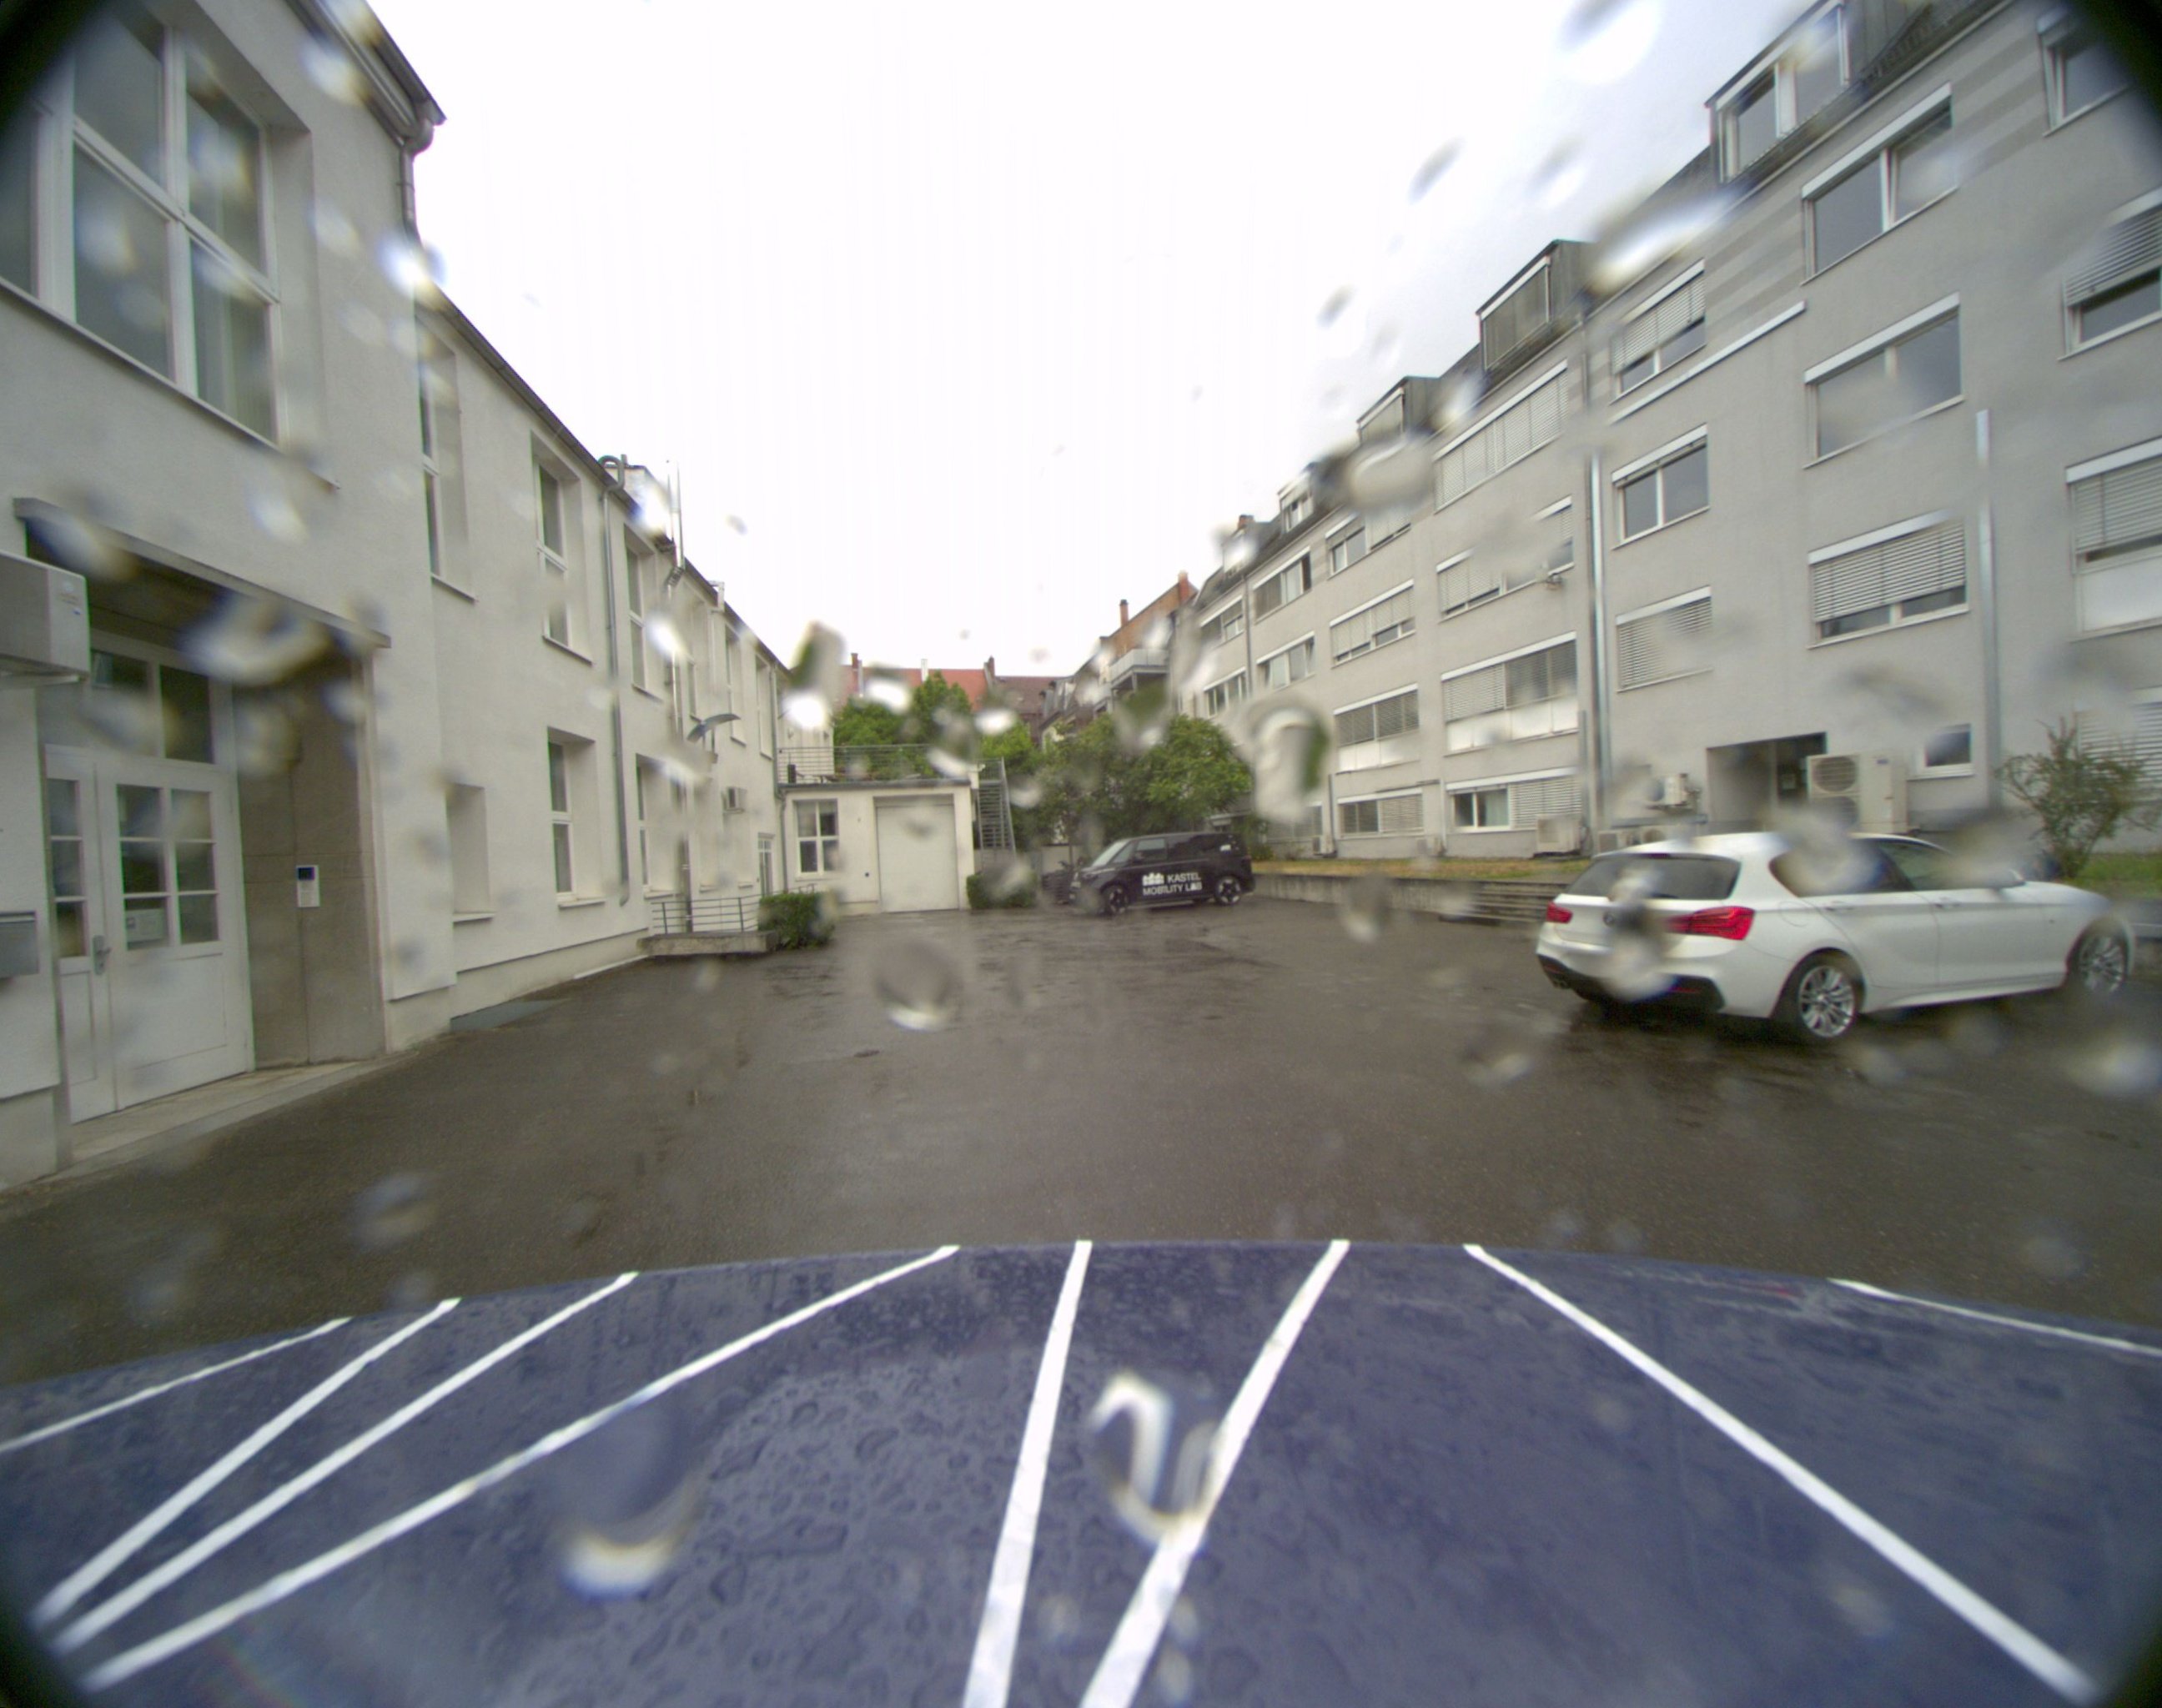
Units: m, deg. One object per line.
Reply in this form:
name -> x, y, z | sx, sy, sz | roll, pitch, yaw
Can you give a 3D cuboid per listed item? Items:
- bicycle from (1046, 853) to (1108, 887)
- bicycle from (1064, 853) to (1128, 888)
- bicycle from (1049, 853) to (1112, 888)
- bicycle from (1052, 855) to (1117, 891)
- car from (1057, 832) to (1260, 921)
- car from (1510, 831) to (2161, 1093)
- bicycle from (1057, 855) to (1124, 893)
bicycle -> -0.160, 0.613, 30.188 | 2.321, 1.180, 0.642 | -3, 3, -8
bicycle -> 0.575, 0.631, 29.155 | 2.321, 1.180, 0.642 | -3, 3, -8
bicycle -> -0.013, 0.637, 29.572 | 2.321, 1.180, 0.642 | -3, 3, -8
bicycle -> 0.134, 0.689, 28.415 | 2.321, 1.180, 0.642 | -3, 3, -8
car -> 1.918, 0.529, 19.302 | 4.634, 1.826, 1.986 | -3, 0, -16
car -> 5.823, 0.642, 5.987 | 4.154, 1.425, 1.751 | -3, 1, -14
bicycle -> 0.339, 0.719, 27.640 | 2.321, 1.180, 0.642 | -3, 3, -8
